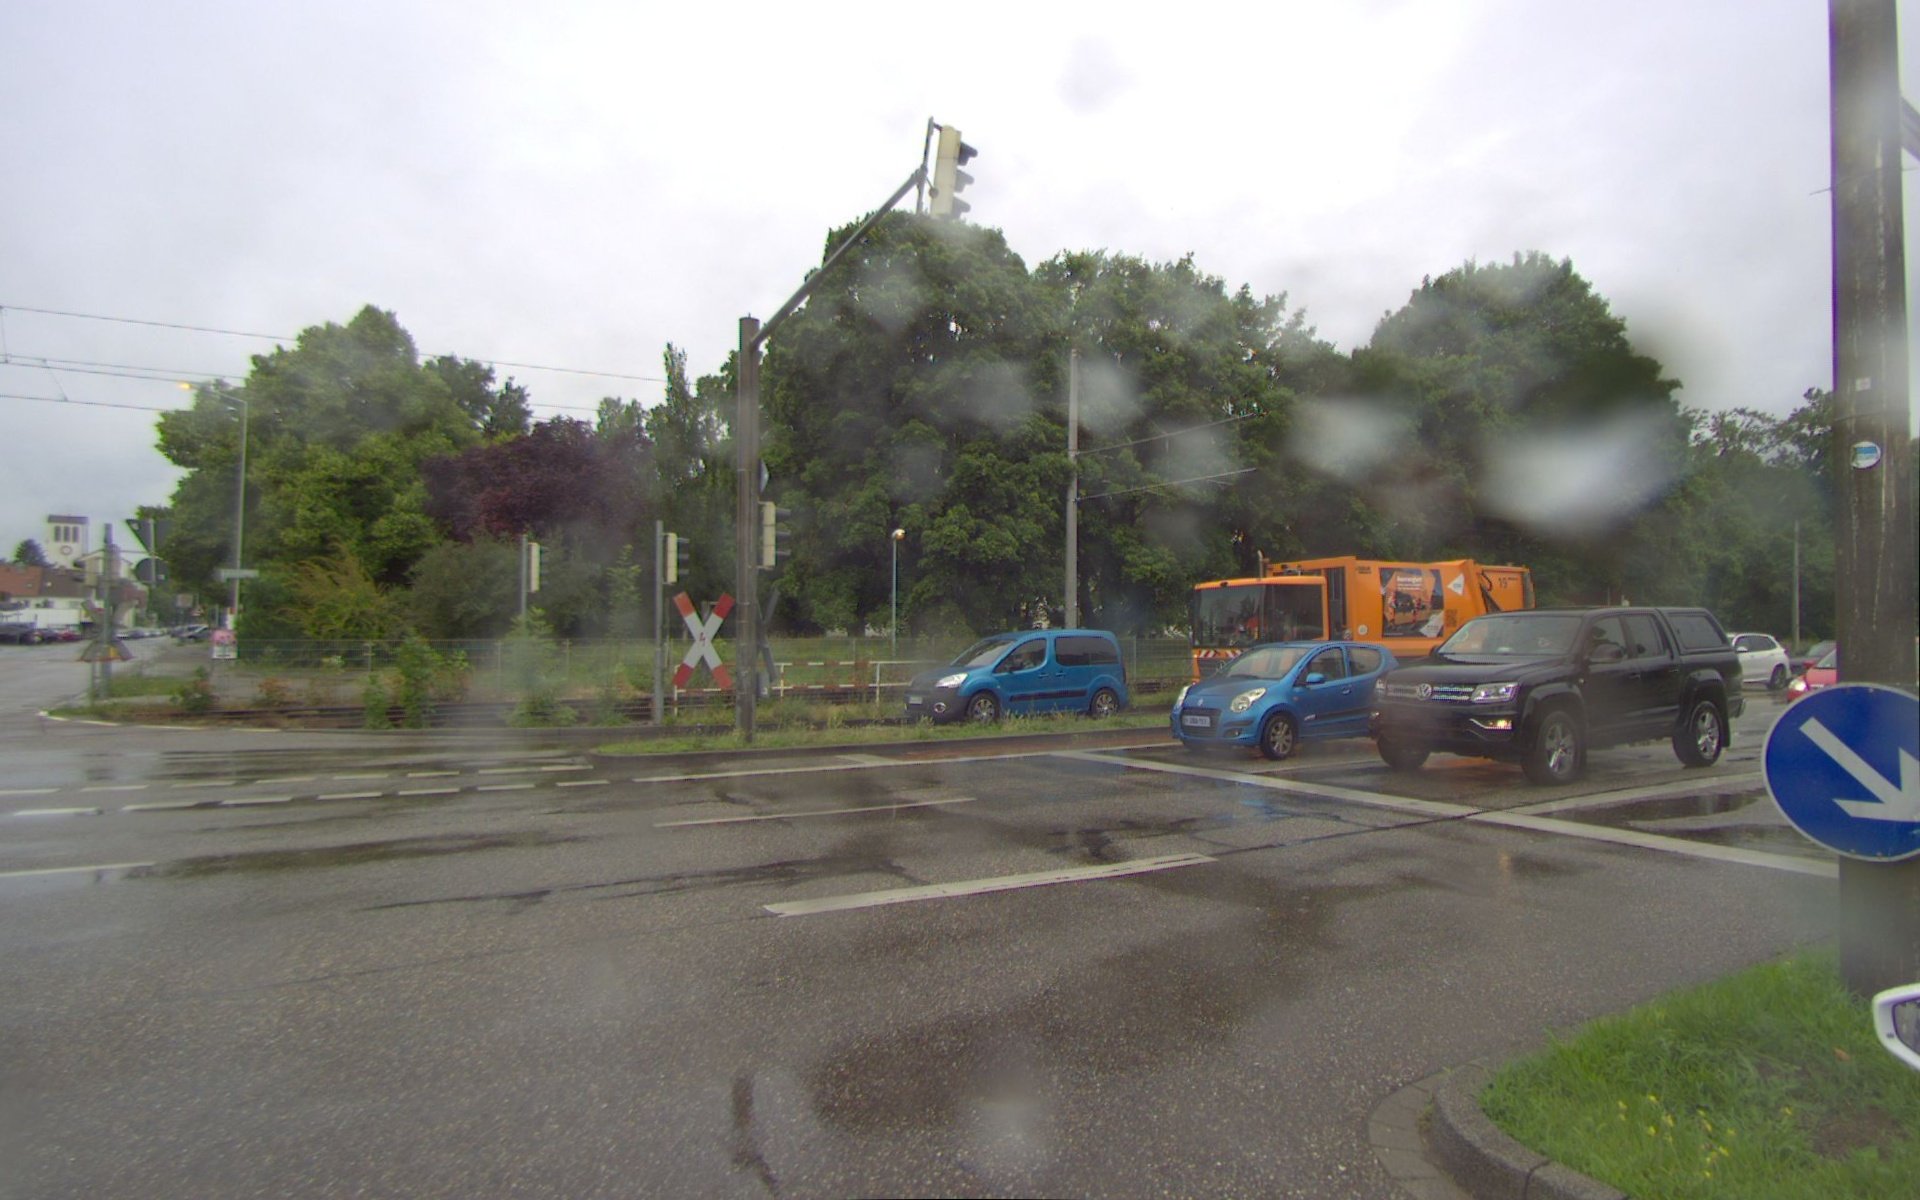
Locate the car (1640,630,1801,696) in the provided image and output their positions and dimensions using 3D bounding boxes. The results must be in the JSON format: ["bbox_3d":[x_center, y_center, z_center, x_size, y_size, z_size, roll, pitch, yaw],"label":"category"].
[{"bbox_3d":[23.684,1.953,31.273,4.707,1.852,1.988,2,0,-25],"label":"car"}]

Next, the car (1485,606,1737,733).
[{"bbox_3d":[11.843,1.189,18.210,4.686,2.044,1.920,1,-2,-30],"label":"car"}]

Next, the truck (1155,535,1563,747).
[{"bbox_3d":[9.763,0.949,23.993,10.284,4.223,3.369,2,0,-30],"label":"truck"}]

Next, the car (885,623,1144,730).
[{"bbox_3d":[1.048,1.377,18.819,4.472,1.732,1.985,2,0,-29],"label":"car"}]

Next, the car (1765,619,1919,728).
[{"bbox_3d":[15.294,1.188,16.513,4.378,1.590,1.792,2,-4,-31],"label":"car"}]

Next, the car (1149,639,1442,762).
[{"bbox_3d":[4.585,1.285,13.585,3.956,1.446,1.632,2,-4,-32],"label":"car"}]

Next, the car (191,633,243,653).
[{"bbox_3d":[-71.318,4.131,96.439,3.962,1.726,1.856,2,0,-36],"label":"car"}]

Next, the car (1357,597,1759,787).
[{"bbox_3d":[7.012,0.963,11.613,5.030,1.796,1.797,1,-3,-31],"label":"car"}]
